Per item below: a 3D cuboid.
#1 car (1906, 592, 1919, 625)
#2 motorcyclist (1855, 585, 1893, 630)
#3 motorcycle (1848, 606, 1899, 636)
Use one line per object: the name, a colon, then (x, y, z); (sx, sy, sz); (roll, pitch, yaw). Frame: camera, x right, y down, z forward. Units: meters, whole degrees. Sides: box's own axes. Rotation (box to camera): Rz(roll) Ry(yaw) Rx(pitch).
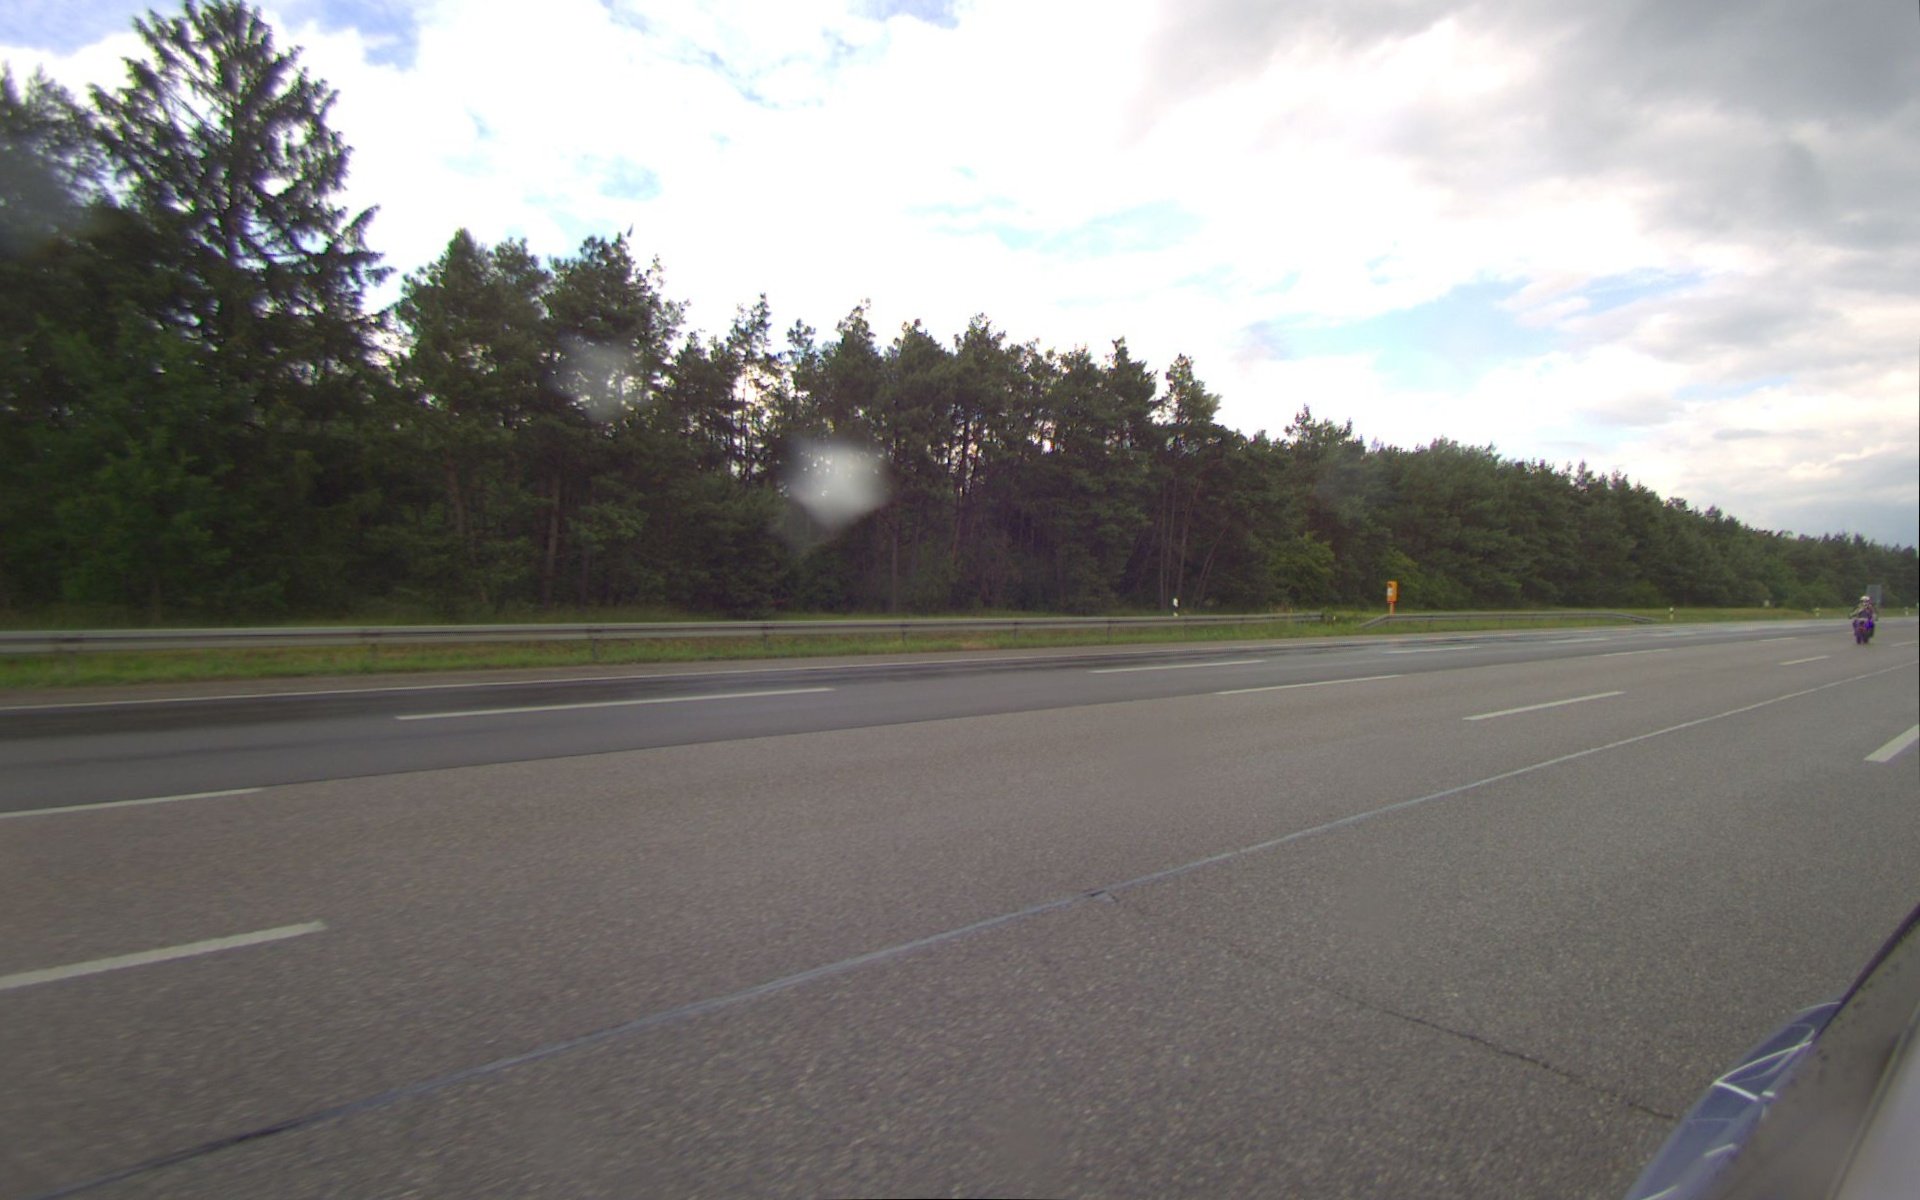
car: (61.504, 0.564, 63.579); (5.378, 2.039, 2.000); (1, 0, -35)
motorcyclist: (33.740, 0.265, 37.360); (0.941, 1.635, 0.894); (0, 0, -37)
motorcycle: (33.691, 0.744, 37.314); (2.134, 1.044, 1.002); (0, 1, -37)
